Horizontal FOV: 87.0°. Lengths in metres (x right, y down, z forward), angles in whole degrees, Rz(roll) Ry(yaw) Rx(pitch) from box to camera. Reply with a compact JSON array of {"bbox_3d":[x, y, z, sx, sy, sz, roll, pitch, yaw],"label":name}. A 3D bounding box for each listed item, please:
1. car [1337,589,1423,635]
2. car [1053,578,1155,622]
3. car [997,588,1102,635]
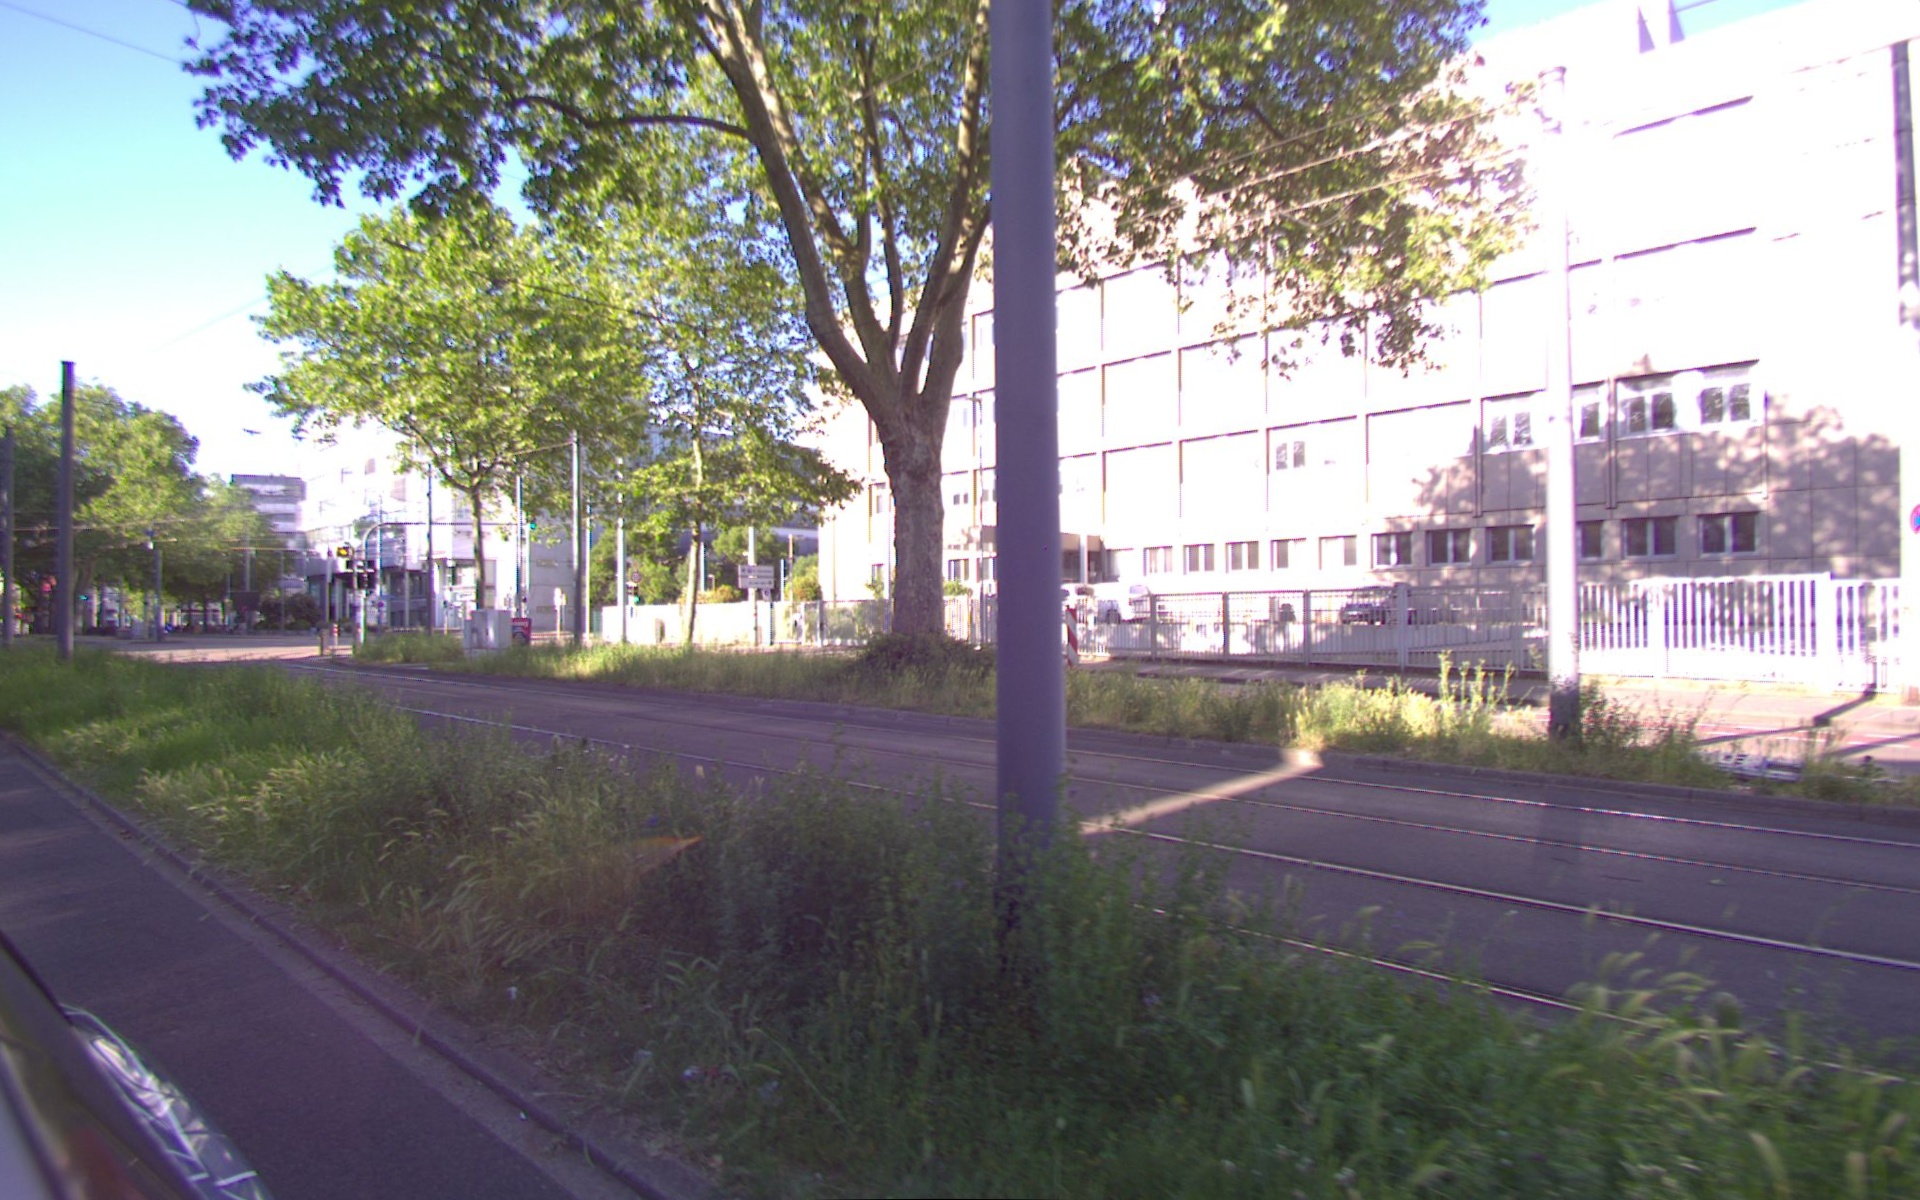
[{"bbox_3d":[16.605,0.450,39.887,1.853,1.732,4.222,-1,-1,42],"label":"car"},{"bbox_3d":[6.137,0.023,43.327,3.999,1.765,1.828,-1,-1,42],"label":"car"},{"bbox_3d":[3.614,0.491,41.446,3.999,1.831,1.828,-1,-1,42],"label":"car"}]
